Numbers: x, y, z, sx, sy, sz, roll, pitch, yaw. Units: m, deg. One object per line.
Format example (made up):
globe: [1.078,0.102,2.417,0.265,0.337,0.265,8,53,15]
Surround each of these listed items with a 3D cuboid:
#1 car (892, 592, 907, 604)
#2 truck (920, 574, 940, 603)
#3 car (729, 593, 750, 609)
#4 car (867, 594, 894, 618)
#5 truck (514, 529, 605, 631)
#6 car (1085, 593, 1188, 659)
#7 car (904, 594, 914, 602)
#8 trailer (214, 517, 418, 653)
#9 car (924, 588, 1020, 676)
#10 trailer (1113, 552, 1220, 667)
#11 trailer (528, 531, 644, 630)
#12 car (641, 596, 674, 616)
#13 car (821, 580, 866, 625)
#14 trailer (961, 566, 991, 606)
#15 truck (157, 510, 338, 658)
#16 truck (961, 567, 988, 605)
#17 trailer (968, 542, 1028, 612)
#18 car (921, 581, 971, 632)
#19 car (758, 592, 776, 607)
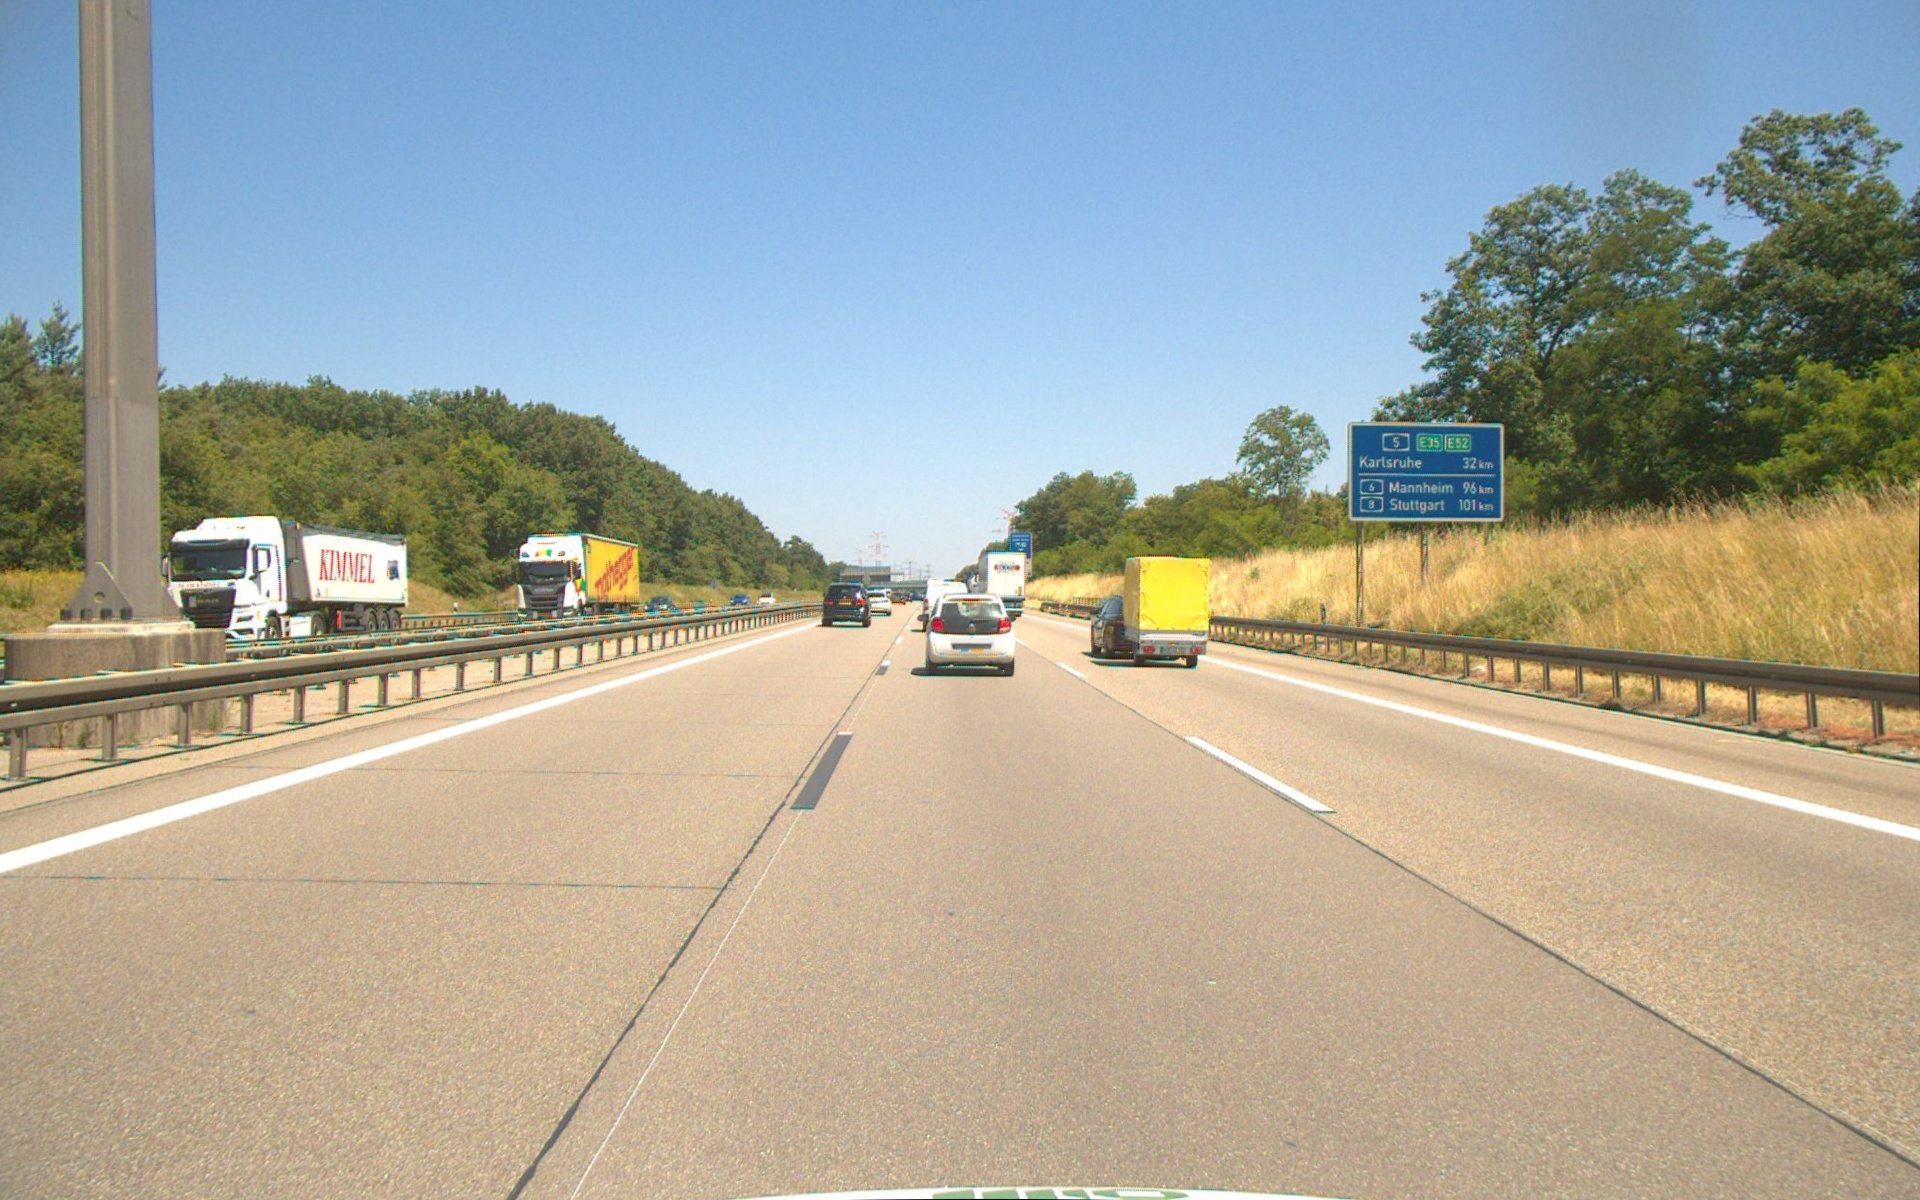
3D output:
car: [-6.818,-0.244,186.826,1.574,1.323,3.673,1,0,-1]
truck: [-3.126,-1.184,172.475,2.018,2.965,7.001,0,0,-2]
car: [-23.639,0.094,177.155,1.667,1.572,4.534,-3,0,-1]
car: [-4.814,0.358,100.309,1.635,1.426,3.711,0,1,-2]
truck: [-17.420,-0.846,72.328,2.414,4.143,6.285,-3,0,-1]
car: [4.216,0.596,40.135,1.785,1.481,4.786,1,0,-2]
car: [-7.318,-0.303,235.781,1.377,1.151,3.357,1,0,-1]
trailer: [-21.342,-0.505,55.737,2.572,4.017,11.155,-3,0,-1]
car: [0.179,0.558,31.161,1.673,1.521,4.023,1,0,-1]
trailer: [4.405,0.185,35.825,1.669,2.329,3.838,1,0,-2]
trailer: [-17.564,-0.899,78.822,2.414,4.143,14.275,-3,0,-1]
car: [-23.031,0.440,126.067,1.641,1.389,4.888,-3,0,-1]
car: [-4.726,0.089,67.309,1.593,1.785,3.804,1,0,-1]
trailer: [1.613,-1.418,170.828,2.628,3.904,12.006,1,0,-2]
truck: [-21.185,-0.468,49.608,2.572,4.017,6.481,-3,0,-1]
truck: [1.472,-1.423,175.526,2.628,3.904,4.442,1,0,-2]
trailer: [2.419,-1.402,110.262,3.219,4.293,13.560,1,0,-2]
car: [-0.568,0.243,62.466,1.777,1.859,5.109,0,0,-2]
car: [-23.937,-0.064,205.642,1.667,1.690,5.115,-3,0,-1]
